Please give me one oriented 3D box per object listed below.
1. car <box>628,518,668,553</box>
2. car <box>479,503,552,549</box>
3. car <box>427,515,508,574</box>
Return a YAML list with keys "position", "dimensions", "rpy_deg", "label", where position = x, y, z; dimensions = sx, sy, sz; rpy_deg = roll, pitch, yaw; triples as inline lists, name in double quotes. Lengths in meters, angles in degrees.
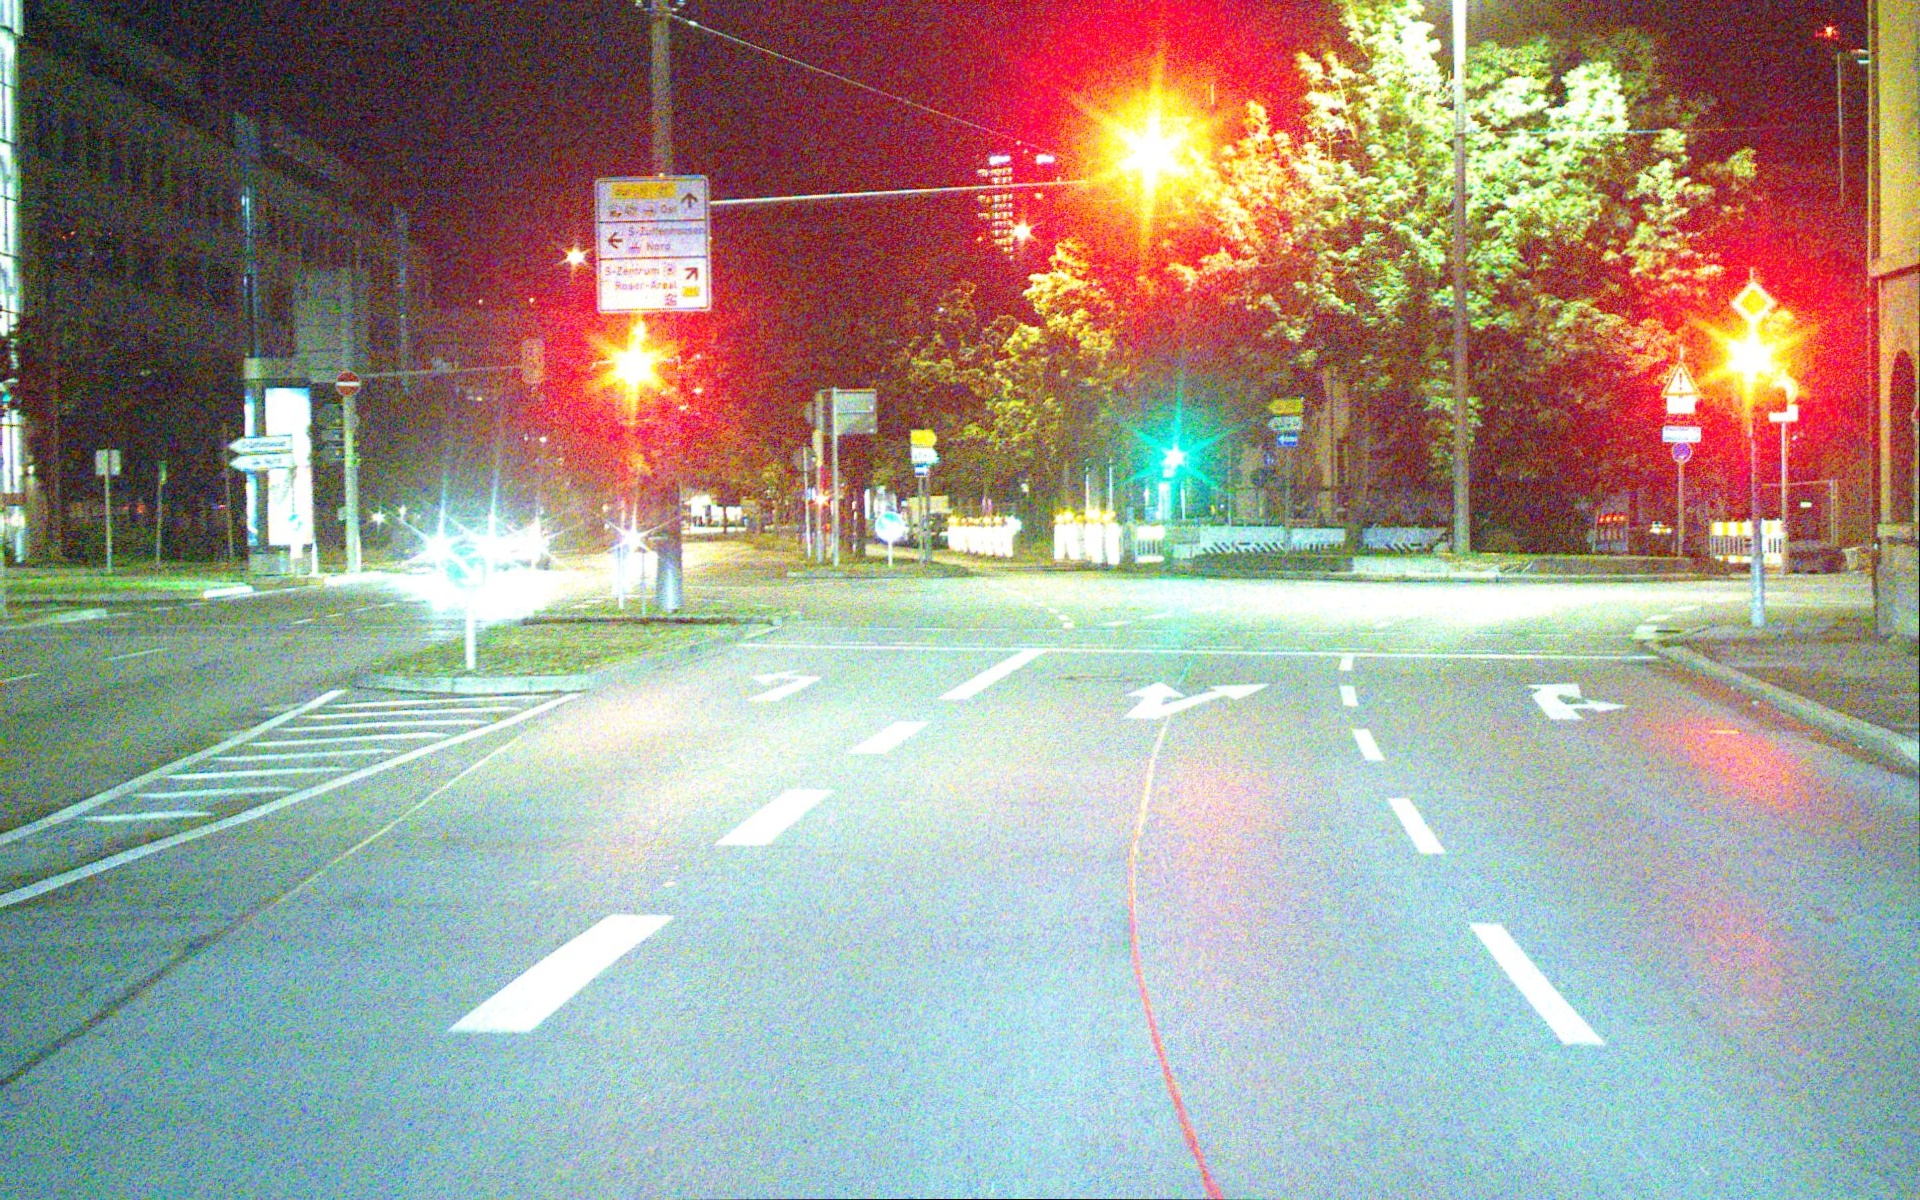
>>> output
- position: [-15.342, -3.185, 169.292]
  dimensions: [1.757, 1.722, 3.548]
  rpy_deg: [0, 1, -2]
  label: "car"
- position: [-12.746, -2.118, 98.746]
  dimensions: [1.757, 1.317, 3.548]
  rpy_deg: [0, 1, -2]
  label: "car"
- position: [-12.814, -1.457, 89.638]
  dimensions: [1.615, 1.509, 4.000]
  rpy_deg: [0, 1, -1]
  label: "car"
